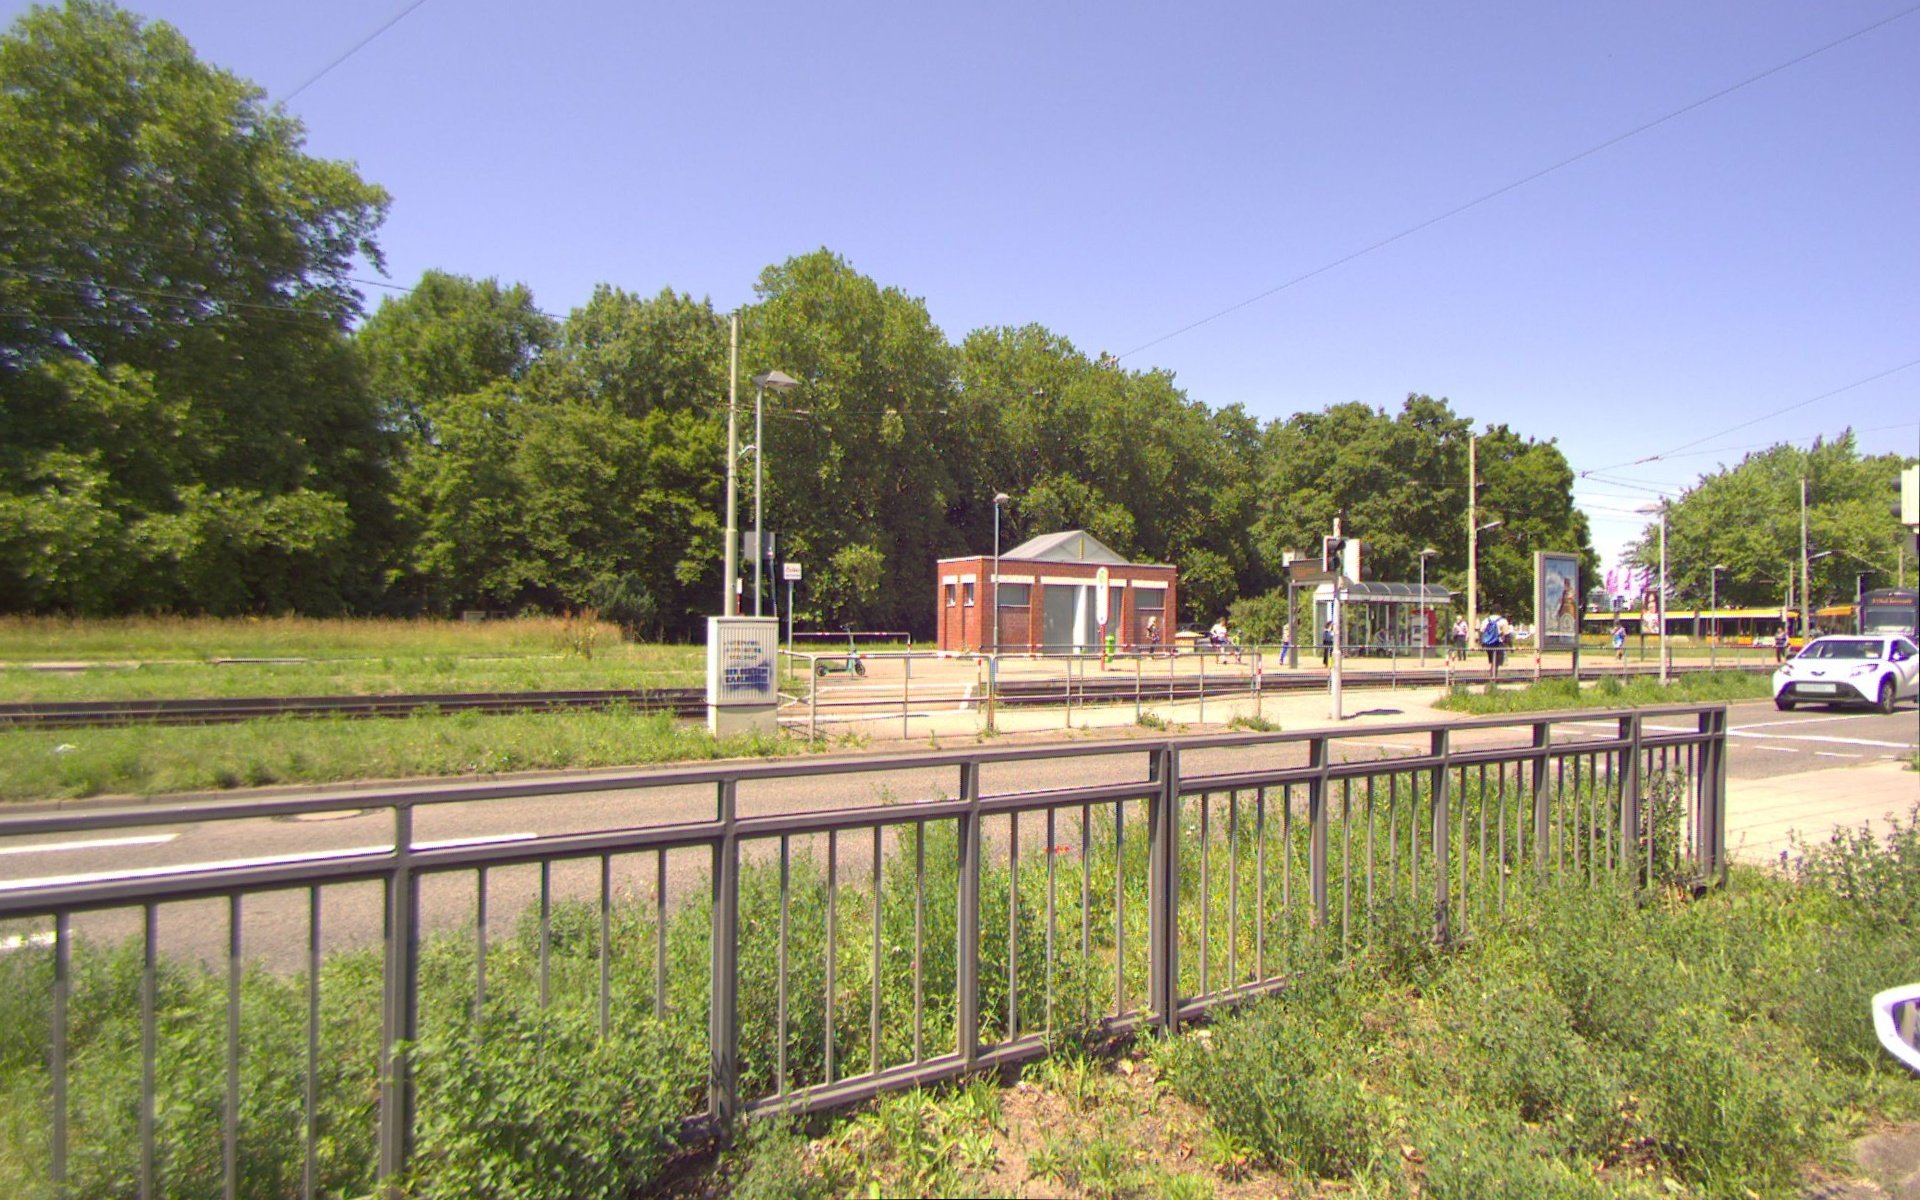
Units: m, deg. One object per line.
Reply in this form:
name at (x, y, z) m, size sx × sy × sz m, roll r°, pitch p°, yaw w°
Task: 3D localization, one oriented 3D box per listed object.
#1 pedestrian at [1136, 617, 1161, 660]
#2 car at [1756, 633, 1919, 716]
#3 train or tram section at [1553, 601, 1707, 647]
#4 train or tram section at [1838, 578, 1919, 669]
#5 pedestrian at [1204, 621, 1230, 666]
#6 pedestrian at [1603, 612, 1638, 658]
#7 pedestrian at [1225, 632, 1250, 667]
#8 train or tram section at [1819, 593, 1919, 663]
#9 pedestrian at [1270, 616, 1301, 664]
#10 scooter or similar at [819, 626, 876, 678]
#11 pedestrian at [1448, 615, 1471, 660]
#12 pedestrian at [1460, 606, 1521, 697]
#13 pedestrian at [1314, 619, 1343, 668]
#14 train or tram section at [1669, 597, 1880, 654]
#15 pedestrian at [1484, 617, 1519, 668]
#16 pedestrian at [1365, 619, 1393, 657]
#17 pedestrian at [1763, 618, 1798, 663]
pedestrian at (6.598, 1.347, 35.192) m, size 0.563 × 1.499 × 0.636 m, roll 1°, pitch -1°, yaw -30°
car at (18.109, 1.450, 20.408) m, size 3.747 × 1.514 × 1.836 m, roll 1°, pitch -1°, yaw -30°
train or tram section at (65.299, 2.330, 98.900) m, size 3.162 × 3.984 × 18.505 m, roll 1°, pitch -1°, yaw 1°
train or tram section at (47.836, 1.234, 50.808) m, size 18.365 × 3.984 × 3.186 m, roll 2°, pitch -1°, yaw -43°
pedestrian at (8.601, 1.444, 33.641) m, size 0.573 × 1.476 × 0.639 m, roll 1°, pitch -1°, yaw -15°
pedestrian at (29.866, 1.556, 45.409) m, size 1.009 × 2.040 × 0.976 m, roll 1°, pitch -1°, yaw -30°
pedestrian at (9.328, 1.657, 33.754) m, size 0.560 × 1.139 × 0.639 m, roll 1°, pitch -1°, yaw -15°
train or tram section at (59.147, 1.800, 64.571) m, size 3.170 × 3.984 × 18.457 m, roll 0°, pitch -1°, yaw 32°
pedestrian at (11.125, 1.365, 34.333) m, size 0.799 × 1.611 × 0.668 m, roll 1°, pitch -1°, yaw -30°
scooter or similar at (-2.633, 1.204, 23.452) m, size 1.217 × 1.183 × 0.508 m, roll 1°, pitch -1°, yaw -30°
pedestrian at (20.391, 1.522, 41.006) m, size 0.707 × 1.824 × 0.845 m, roll 0°, pitch -1°, yaw 17°
pedestrian at (11.118, 1.050, 21.049) m, size 0.832 × 1.802 × 0.714 m, roll -1°, pitch 5°, yaw -30°
pedestrian at (11.895, 1.395, 32.399) m, size 0.688 × 1.575 × 0.629 m, roll 1°, pitch -1°, yaw -42°
train or tram section at (64.271, 2.014, 80.472) m, size 3.161 × 3.984 × 18.510 m, roll 1°, pitch -1°, yaw 4°
pedestrian at (20.038, 1.549, 37.153) m, size 0.832 × 1.802 × 0.714 m, roll -1°, pitch 5°, yaw -30°
pedestrian at (17.250, 1.573, 41.374) m, size 0.710 × 1.531 × 0.841 m, roll 1°, pitch -1°, yaw -19°
pedestrian at (37.990, 1.875, 46.499) m, size 1.009 × 2.040 × 0.976 m, roll 1°, pitch -1°, yaw -30°
